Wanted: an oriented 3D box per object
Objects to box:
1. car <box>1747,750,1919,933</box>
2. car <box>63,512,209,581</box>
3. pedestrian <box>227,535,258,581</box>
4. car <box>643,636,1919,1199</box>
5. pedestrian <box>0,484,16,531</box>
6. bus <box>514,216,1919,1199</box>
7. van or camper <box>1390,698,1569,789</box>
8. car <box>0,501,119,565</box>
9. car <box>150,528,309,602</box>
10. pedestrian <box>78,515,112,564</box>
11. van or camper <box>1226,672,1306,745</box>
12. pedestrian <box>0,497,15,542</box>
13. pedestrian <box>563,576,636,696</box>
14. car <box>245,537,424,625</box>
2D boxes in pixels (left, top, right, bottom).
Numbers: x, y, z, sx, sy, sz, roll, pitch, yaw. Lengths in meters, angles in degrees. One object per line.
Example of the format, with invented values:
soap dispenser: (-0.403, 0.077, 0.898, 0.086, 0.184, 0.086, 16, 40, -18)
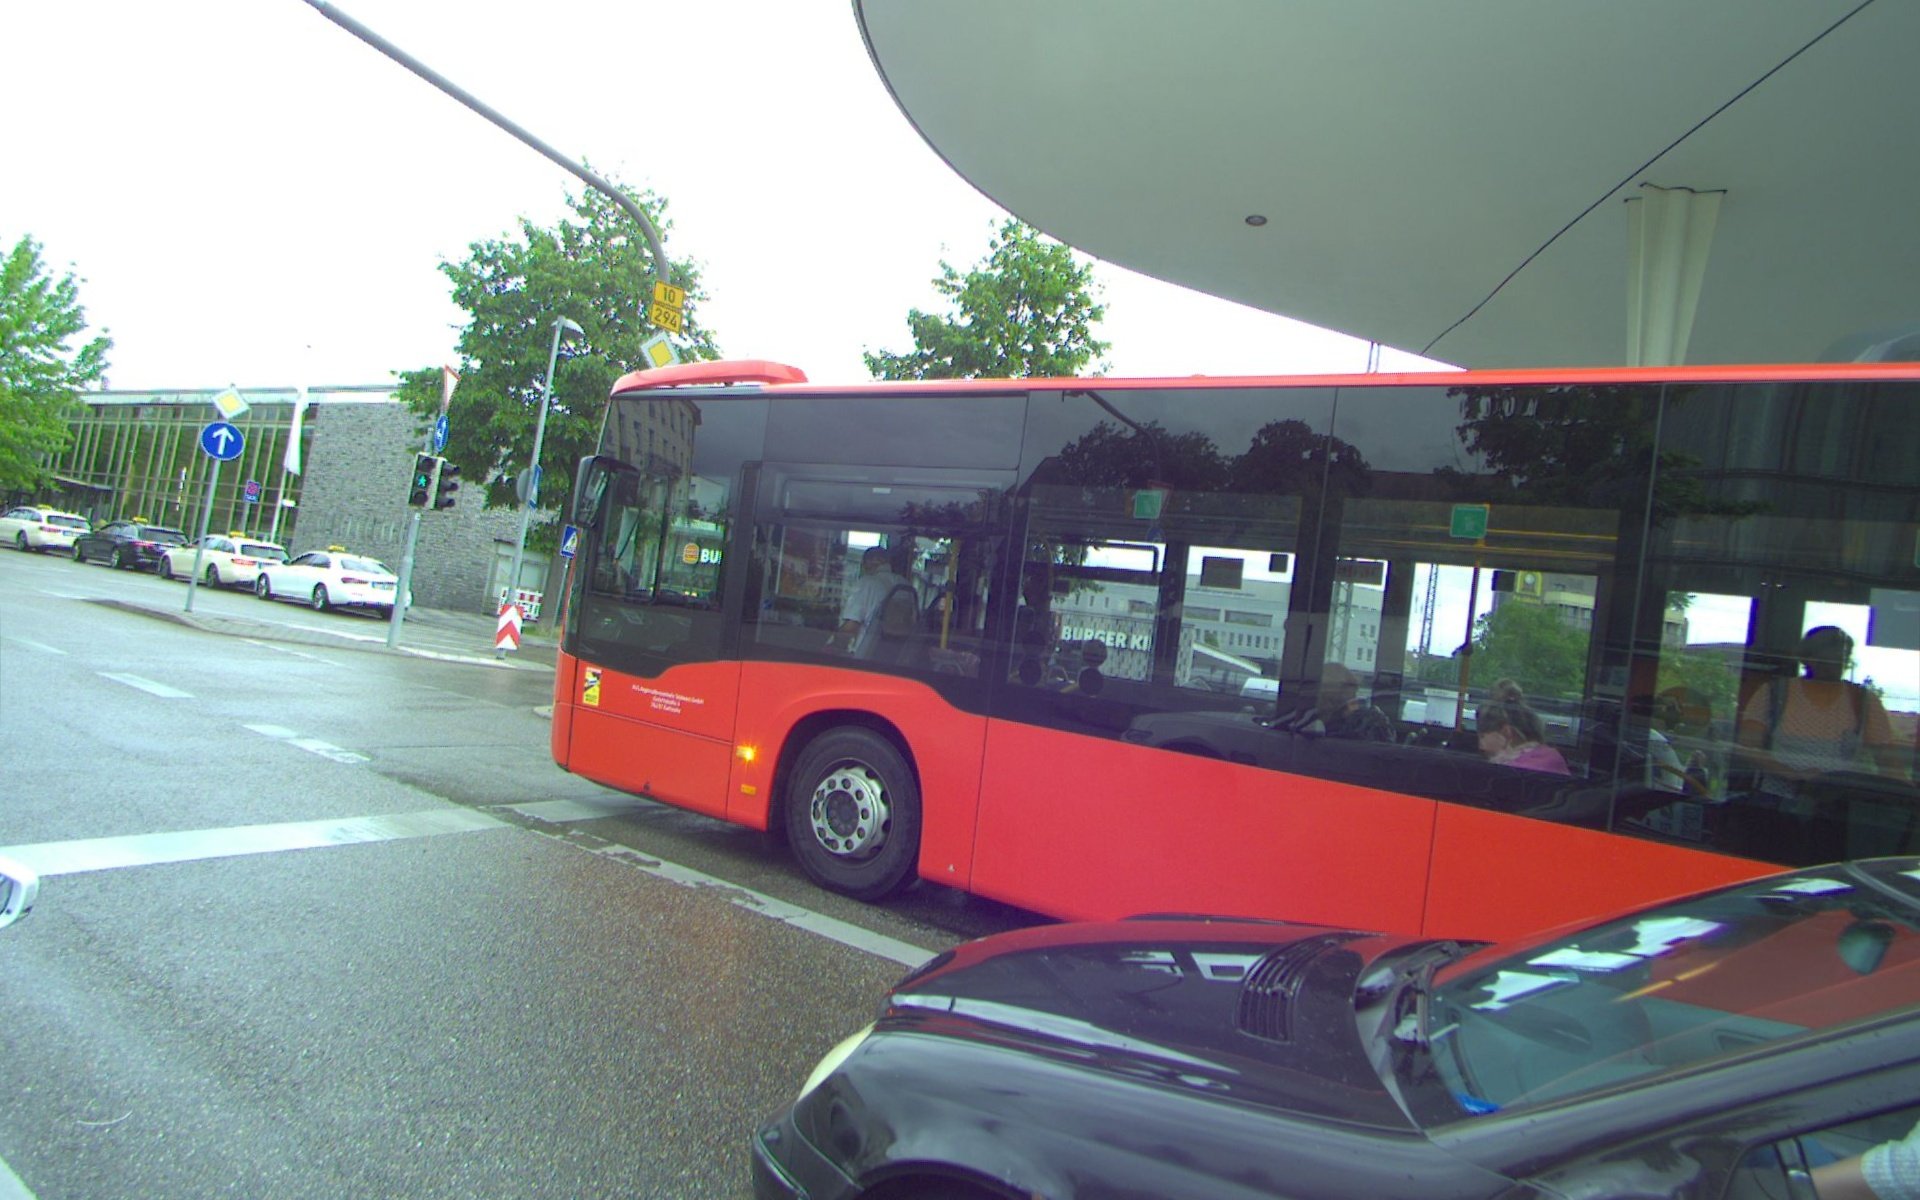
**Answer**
car: (11.234, 2.800, 10.542, 4.360, 1.666, 1.806, 7, -4, 32)
car: (-25.833, -1.695, 31.509, 4.662, 1.542, 1.918, 7, -2, 30)
pedestrian: (-28.214, -1.655, 39.560, 0.703, 1.665, 0.565, 7, -1, 27)
car: (1.754, 1.127, 1.484, 4.361, 1.495, 1.752, 6, -5, 31)
pedestrian: (-52.487, -5.076, 55.007, 0.848, 2.439, 0.844, 7, -1, 34)
bus: (2.162, 0.340, 5.273, 10.026, 3.210, 2.749, 7, -2, 32)
van or camper: (20.344, 5.550, 39.521, 5.873, 2.491, 2.108, 7, -2, 32)
car: (-31.427, -2.370, 34.521, 4.736, 1.618, 2.000, 7, -2, 25)
car: (-20.626, -1.000, 28.367, 4.588, 1.468, 1.851, 7, -2, 30)
pedestrian: (-32.793, -2.286, 38.159, 0.703, 1.729, 0.566, 7, -2, 27)
van or camper: (12.546, 4.414, 40.991, 2.072, 2.491, 5.975, 7, -3, 25)
pedestrian: (-45.710, -3.856, 47.812, 0.814, 2.037, 0.771, 7, -1, 30)
pedestrian: (-5.463, 0.537, 15.287, 0.798, 1.693, 0.710, 8, -1, -17)
car: (-15.849, -0.504, 25.439, 4.538, 1.608, 1.779, 7, -2, 30)
